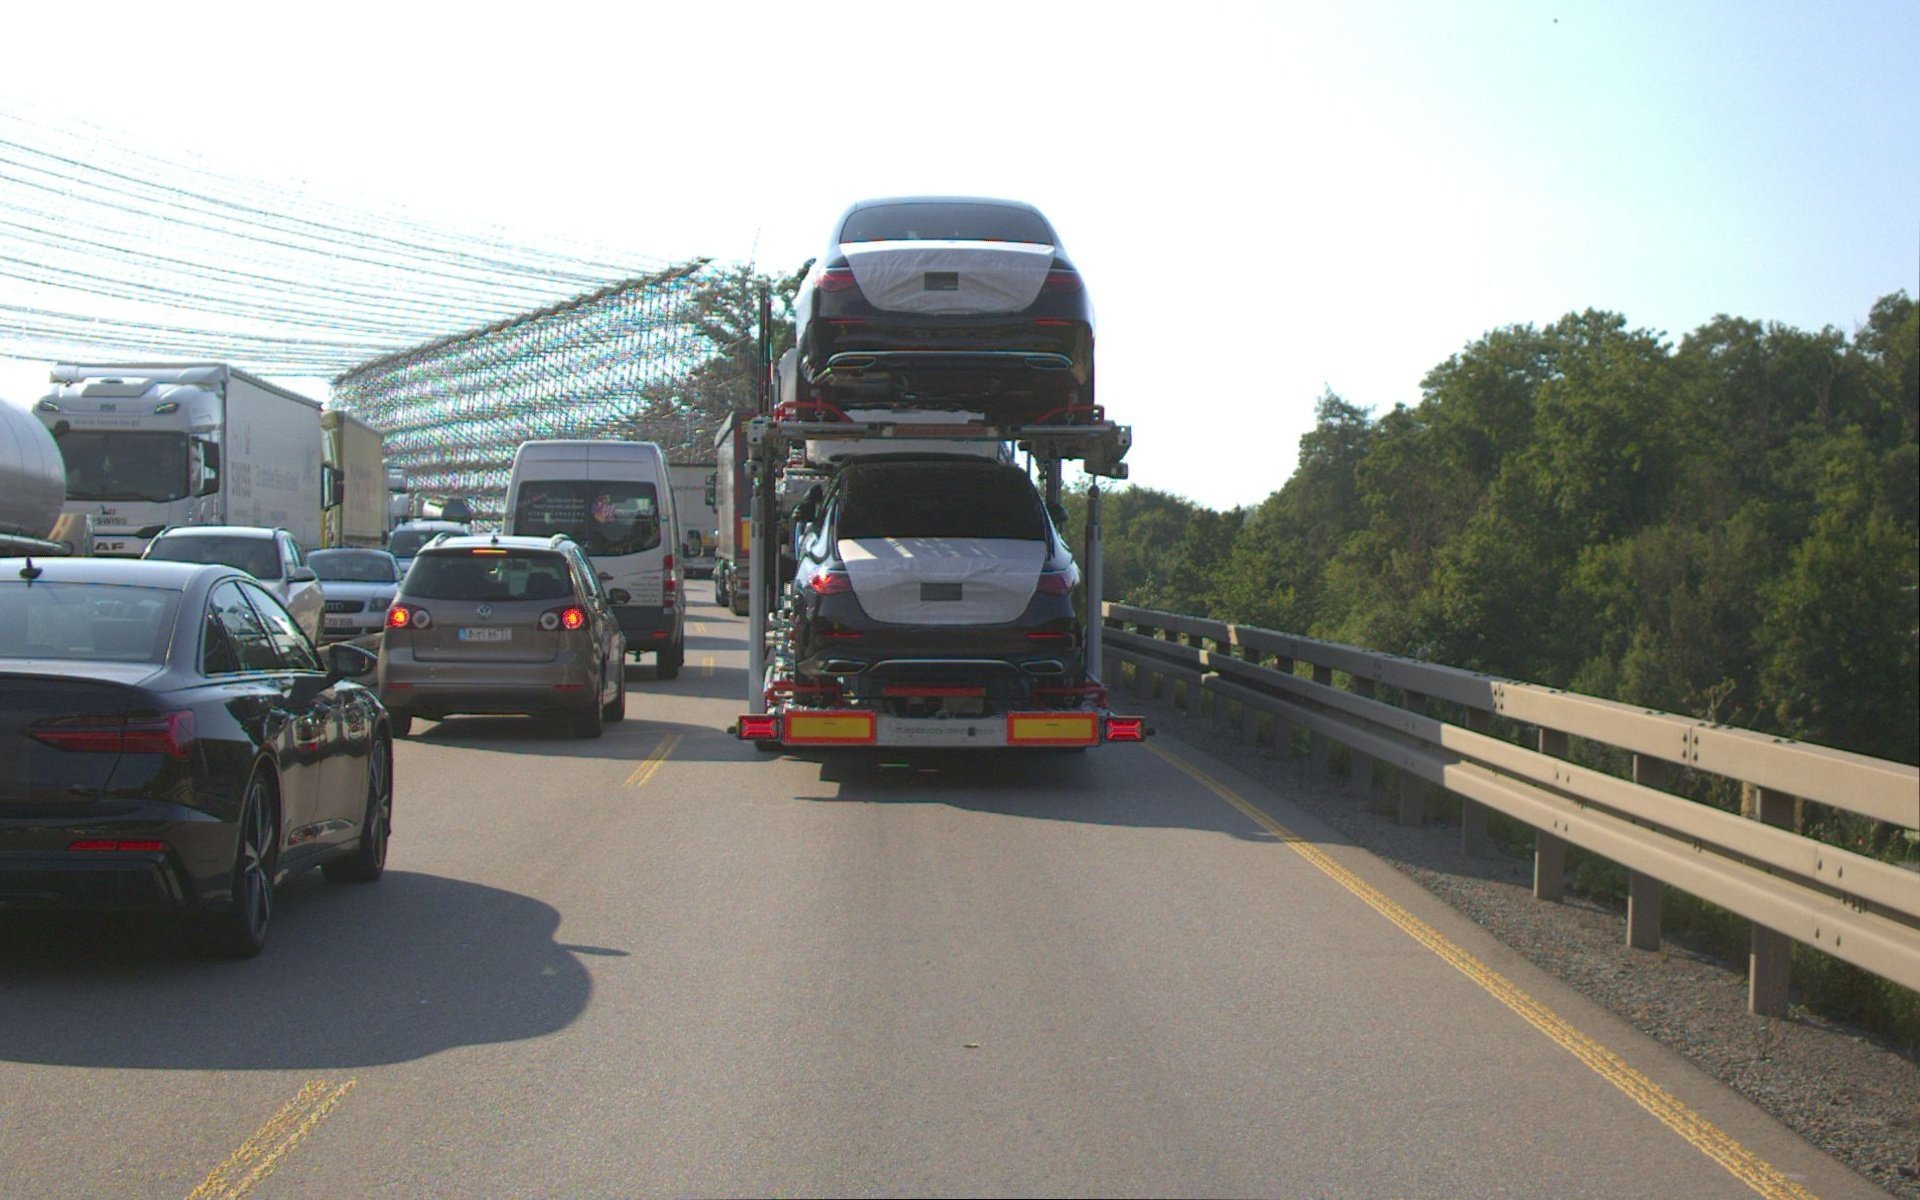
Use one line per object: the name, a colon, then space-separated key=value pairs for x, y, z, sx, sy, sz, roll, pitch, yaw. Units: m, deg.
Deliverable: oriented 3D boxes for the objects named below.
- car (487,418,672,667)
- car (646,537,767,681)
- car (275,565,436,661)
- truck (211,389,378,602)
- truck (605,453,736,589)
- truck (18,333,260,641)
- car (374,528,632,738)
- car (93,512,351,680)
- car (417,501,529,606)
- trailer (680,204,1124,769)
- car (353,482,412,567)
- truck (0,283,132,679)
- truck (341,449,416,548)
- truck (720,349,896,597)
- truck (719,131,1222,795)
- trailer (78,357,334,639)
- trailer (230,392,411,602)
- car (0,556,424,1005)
car: x=-4.307 y=-0.611 z=39.115 sx=1.979 sy=2.675 sz=4.148 roll=0 pitch=0 yaw=-6
car: x=-3.651 y=0.127 z=49.274 sx=1.668 sy=1.978 sz=3.818 roll=0 pitch=0 yaw=-5
car: x=-8.278 y=0.159 z=47.358 sx=1.711 sy=1.248 sz=4.052 roll=-1 pitch=0 yaw=-3
truck: x=-13.834 y=-2.091 z=71.833 sx=2.893 sy=4.257 sz=5.772 roll=0 pitch=0 yaw=-6
truck: x=-10.582 y=-2.851 z=124.455 sx=3.647 sy=4.661 sz=11.699 roll=0 pitch=1 yaw=-10
truck: x=-12.003 y=-1.550 z=50.729 sx=2.443 sy=4.257 sz=6.322 roll=0 pitch=0 yaw=-4
car: x=-3.653 y=0.254 z=28.063 sx=1.700 sy=1.581 sz=4.147 roll=0 pitch=0 yaw=-2
car: x=-7.686 y=-0.049 z=36.201 sx=1.846 sy=1.642 sz=4.560 roll=-1 pitch=0 yaw=-2
car: x=-9.219 y=-0.906 z=65.395 sx=1.832 sy=1.910 sz=4.866 roll=0 pitch=1 yaw=-5
trailer: x=-1.019 y=-0.783 z=31.925 sx=2.874 sy=3.980 sz=15.282 roll=0 pitch=0 yaw=-6
car: x=-19.097 y=-2.504 z=113.877 sx=1.668 sy=2.756 sz=4.961 roll=0 pitch=1 yaw=-7
truck: x=-11.022 y=-1.197 z=34.542 sx=2.808 sy=3.956 sz=13.896 roll=0 pitch=1 yaw=-3
truck: x=-24.358 y=-4.241 z=144.366 sx=2.640 sy=3.981 sz=9.031 roll=0 pitch=1 yaw=-7
truck: x=-3.285 y=-2.546 z=71.033 sx=3.227 sy=4.661 sz=11.697 roll=0 pitch=1 yaw=-4
truck: x=-0.129 y=-0.812 z=23.544 sx=2.869 sy=3.966 sz=5.772 roll=0 pitch=0 yaw=-6
trailer: x=-12.503 y=-1.529 z=58.030 sx=2.453 sy=4.251 sz=12.147 roll=0 pitch=0 yaw=-4
trailer: x=-14.567 y=-2.159 z=79.372 sx=2.893 sy=4.379 sz=14.382 roll=0 pitch=0 yaw=-6
car: x=-3.537 y=0.594 z=13.962 sx=1.940 sy=1.475 sz=5.222 roll=-1 pitch=0 yaw=-1
